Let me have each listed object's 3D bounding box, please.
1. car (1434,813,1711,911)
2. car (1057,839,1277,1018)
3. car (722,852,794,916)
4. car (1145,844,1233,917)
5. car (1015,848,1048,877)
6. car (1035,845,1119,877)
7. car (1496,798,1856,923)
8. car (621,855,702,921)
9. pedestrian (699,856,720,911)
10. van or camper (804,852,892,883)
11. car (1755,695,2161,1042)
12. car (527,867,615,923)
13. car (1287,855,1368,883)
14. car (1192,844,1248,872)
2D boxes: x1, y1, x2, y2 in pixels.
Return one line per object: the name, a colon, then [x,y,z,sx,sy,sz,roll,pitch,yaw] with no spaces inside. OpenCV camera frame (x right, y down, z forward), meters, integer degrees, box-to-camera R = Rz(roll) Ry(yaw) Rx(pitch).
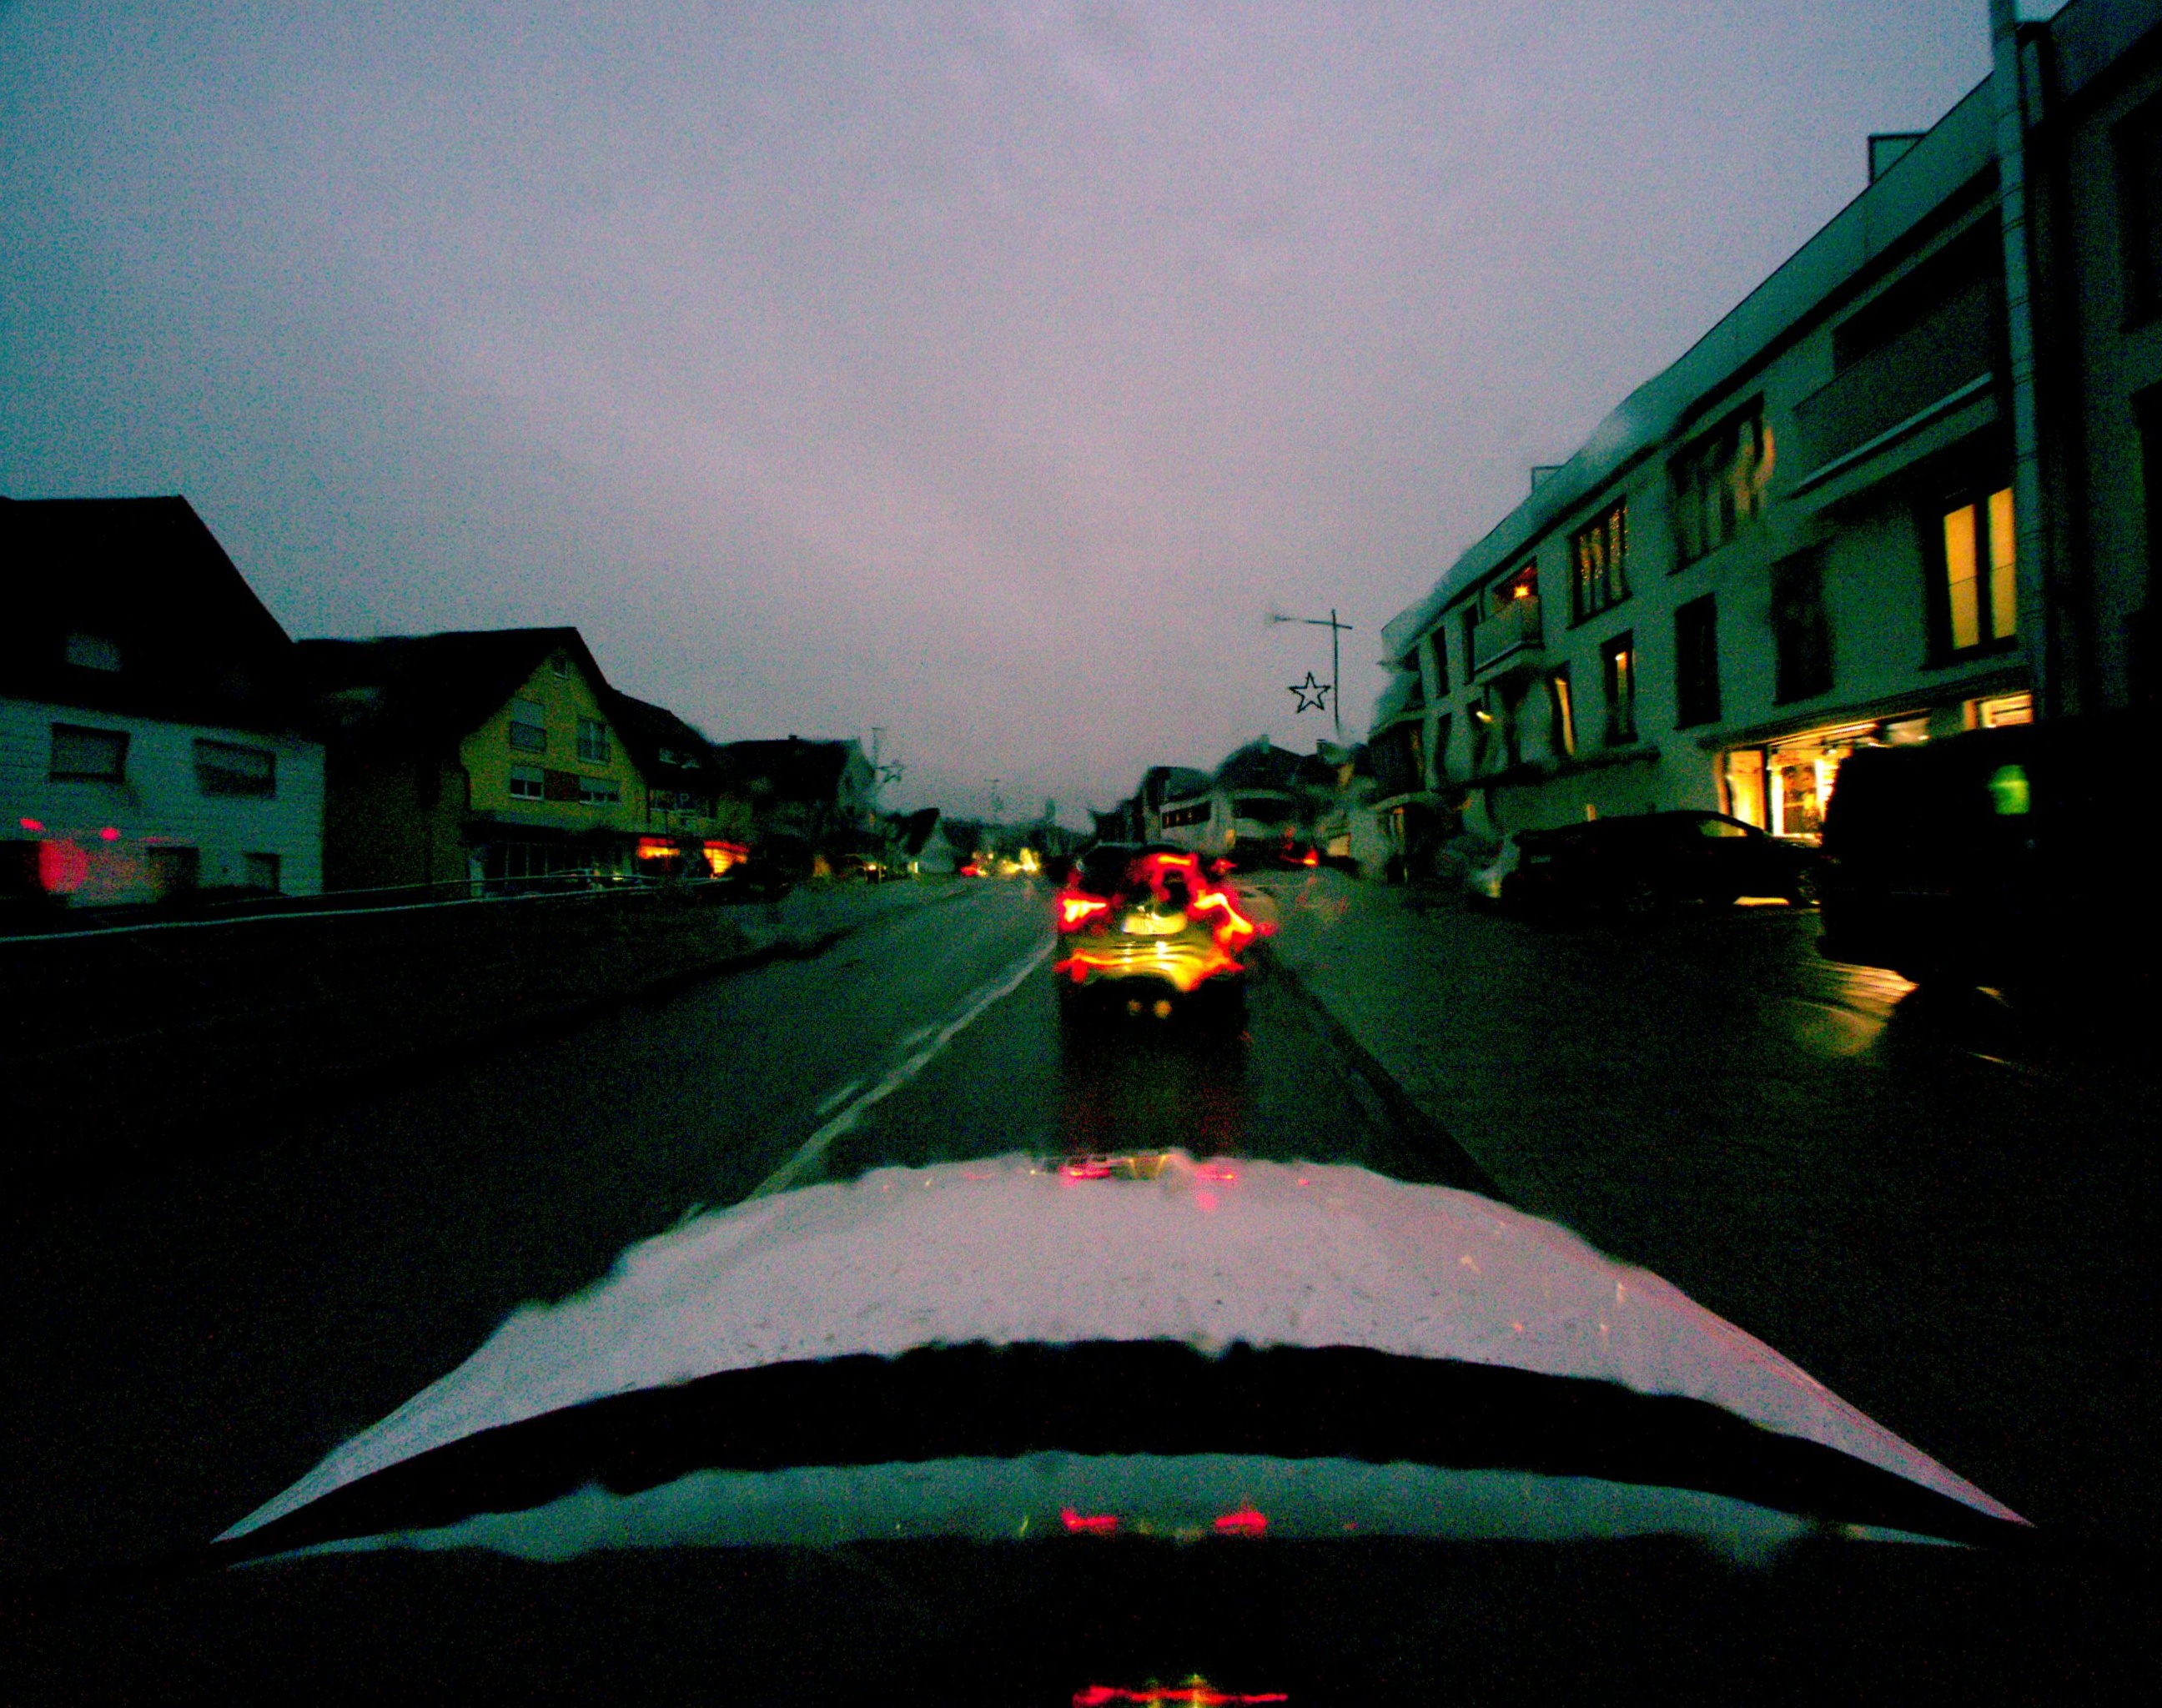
car: [9.275,0.147,15.585,4.196,1.460,1.791,-4,-1,-3]
car: [0.904,0.661,9.433,1.956,1.594,4.317,0,0,4]
car: [-11.013,0.970,27.627,2.047,1.925,4.024,-2,0,-24]
car: [2.325,0.534,18.341,1.675,1.453,4.004,-1,0,4]
car: [-3.984,0.676,65.757,1.984,2.204,4.424,0,-1,5]
car: [-0.184,0.353,43.141,3.958,1.418,2.008,-3,0,14]
car: [8.940,0.091,12.472,4.196,1.460,1.791,-4,-1,-3]
car: [-13.637,1.044,26.691,2.047,1.925,4.024,-2,0,-24]
pedestrian: [-11.874,0.942,26.032,0.498,1.701,0.707,-3,0,-24]
van or camper: [-16.031,0.937,56.028,5.488,1.954,2.009,-2,0,16]
car: [7.864,-0.132,5.642,4.546,1.920,1.950,-7,-1,1]
car: [-16.543,1.267,26.616,1.830,1.613,4.024,-2,0,-24]
car: [13.911,0.869,45.994,3.998,1.479,1.987,1,-2,-19]
car: [10.613,0.340,62.494,2.166,1.991,4.466,-2,0,-22]
